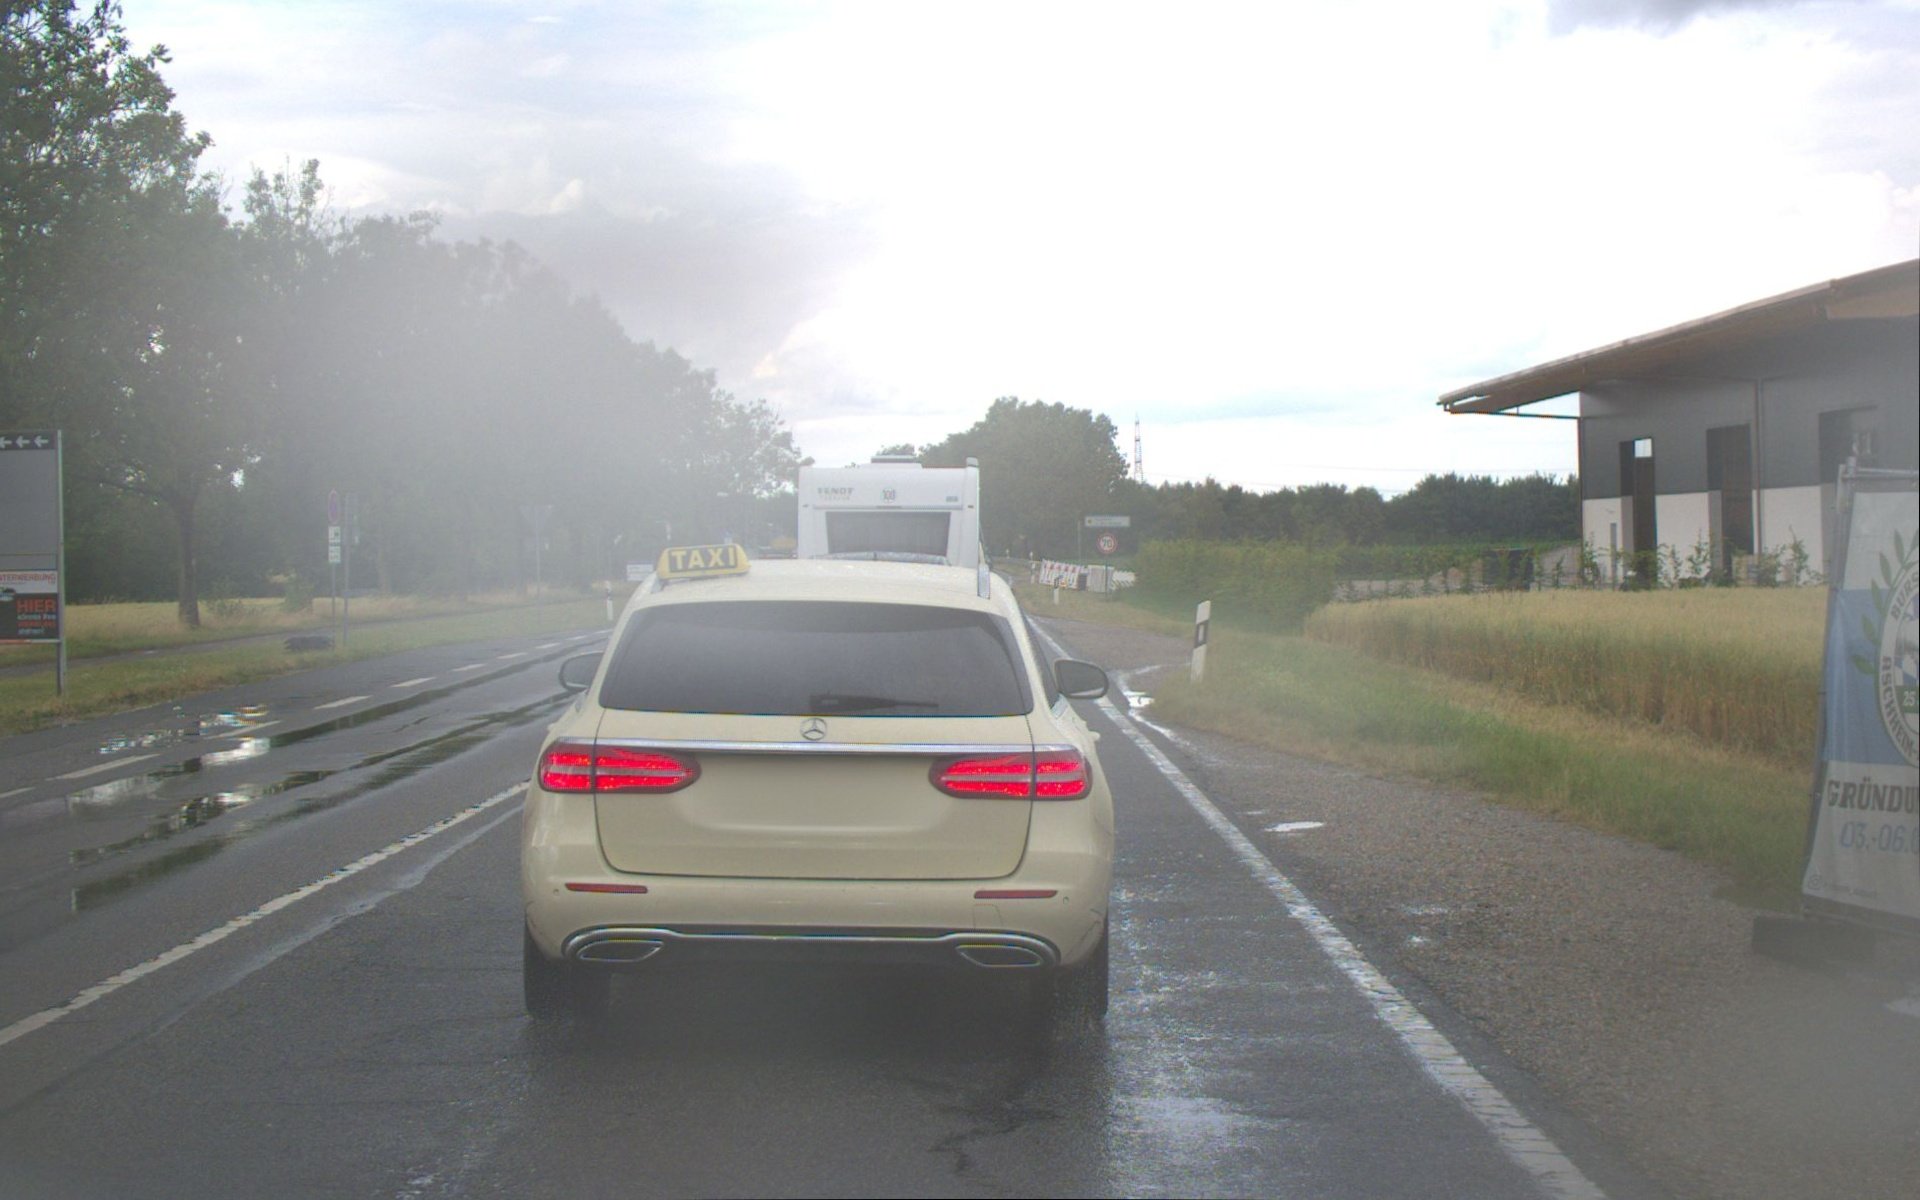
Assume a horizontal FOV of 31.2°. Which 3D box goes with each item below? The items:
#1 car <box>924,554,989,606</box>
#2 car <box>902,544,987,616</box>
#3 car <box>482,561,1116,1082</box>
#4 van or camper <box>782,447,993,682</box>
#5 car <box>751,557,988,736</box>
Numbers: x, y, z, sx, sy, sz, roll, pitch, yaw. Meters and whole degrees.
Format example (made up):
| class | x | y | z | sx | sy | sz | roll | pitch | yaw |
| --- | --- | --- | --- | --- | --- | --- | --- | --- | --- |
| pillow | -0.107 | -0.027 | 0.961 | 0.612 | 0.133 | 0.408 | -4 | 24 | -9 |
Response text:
| class | x | y | z | sx | sy | sz | roll | pitch | yaw |
| --- | --- | --- | --- | --- | --- | --- | --- | --- | --- |
| car | -0.077 | -0.629 | 105.651 | 1.894 | 1.585 | 3.928 | 0 | 1 | 1 |
| car | -0.369 | -0.473 | 78.188 | 1.894 | 1.585 | 3.928 | 0 | 1 | -1 |
| car | -0.451 | 0.605 | 11.758 | 1.797 | 1.459 | 4.031 | 0 | 1 | 0 |
| van or camper | -0.866 | -0.475 | 45.344 | 2.497 | 2.821 | 5.934 | -2 | 1 | 1 |
| car | -0.754 | 0.346 | 29.494 | 1.894 | 1.424 | 3.928 | 0 | 1 | -1 |
